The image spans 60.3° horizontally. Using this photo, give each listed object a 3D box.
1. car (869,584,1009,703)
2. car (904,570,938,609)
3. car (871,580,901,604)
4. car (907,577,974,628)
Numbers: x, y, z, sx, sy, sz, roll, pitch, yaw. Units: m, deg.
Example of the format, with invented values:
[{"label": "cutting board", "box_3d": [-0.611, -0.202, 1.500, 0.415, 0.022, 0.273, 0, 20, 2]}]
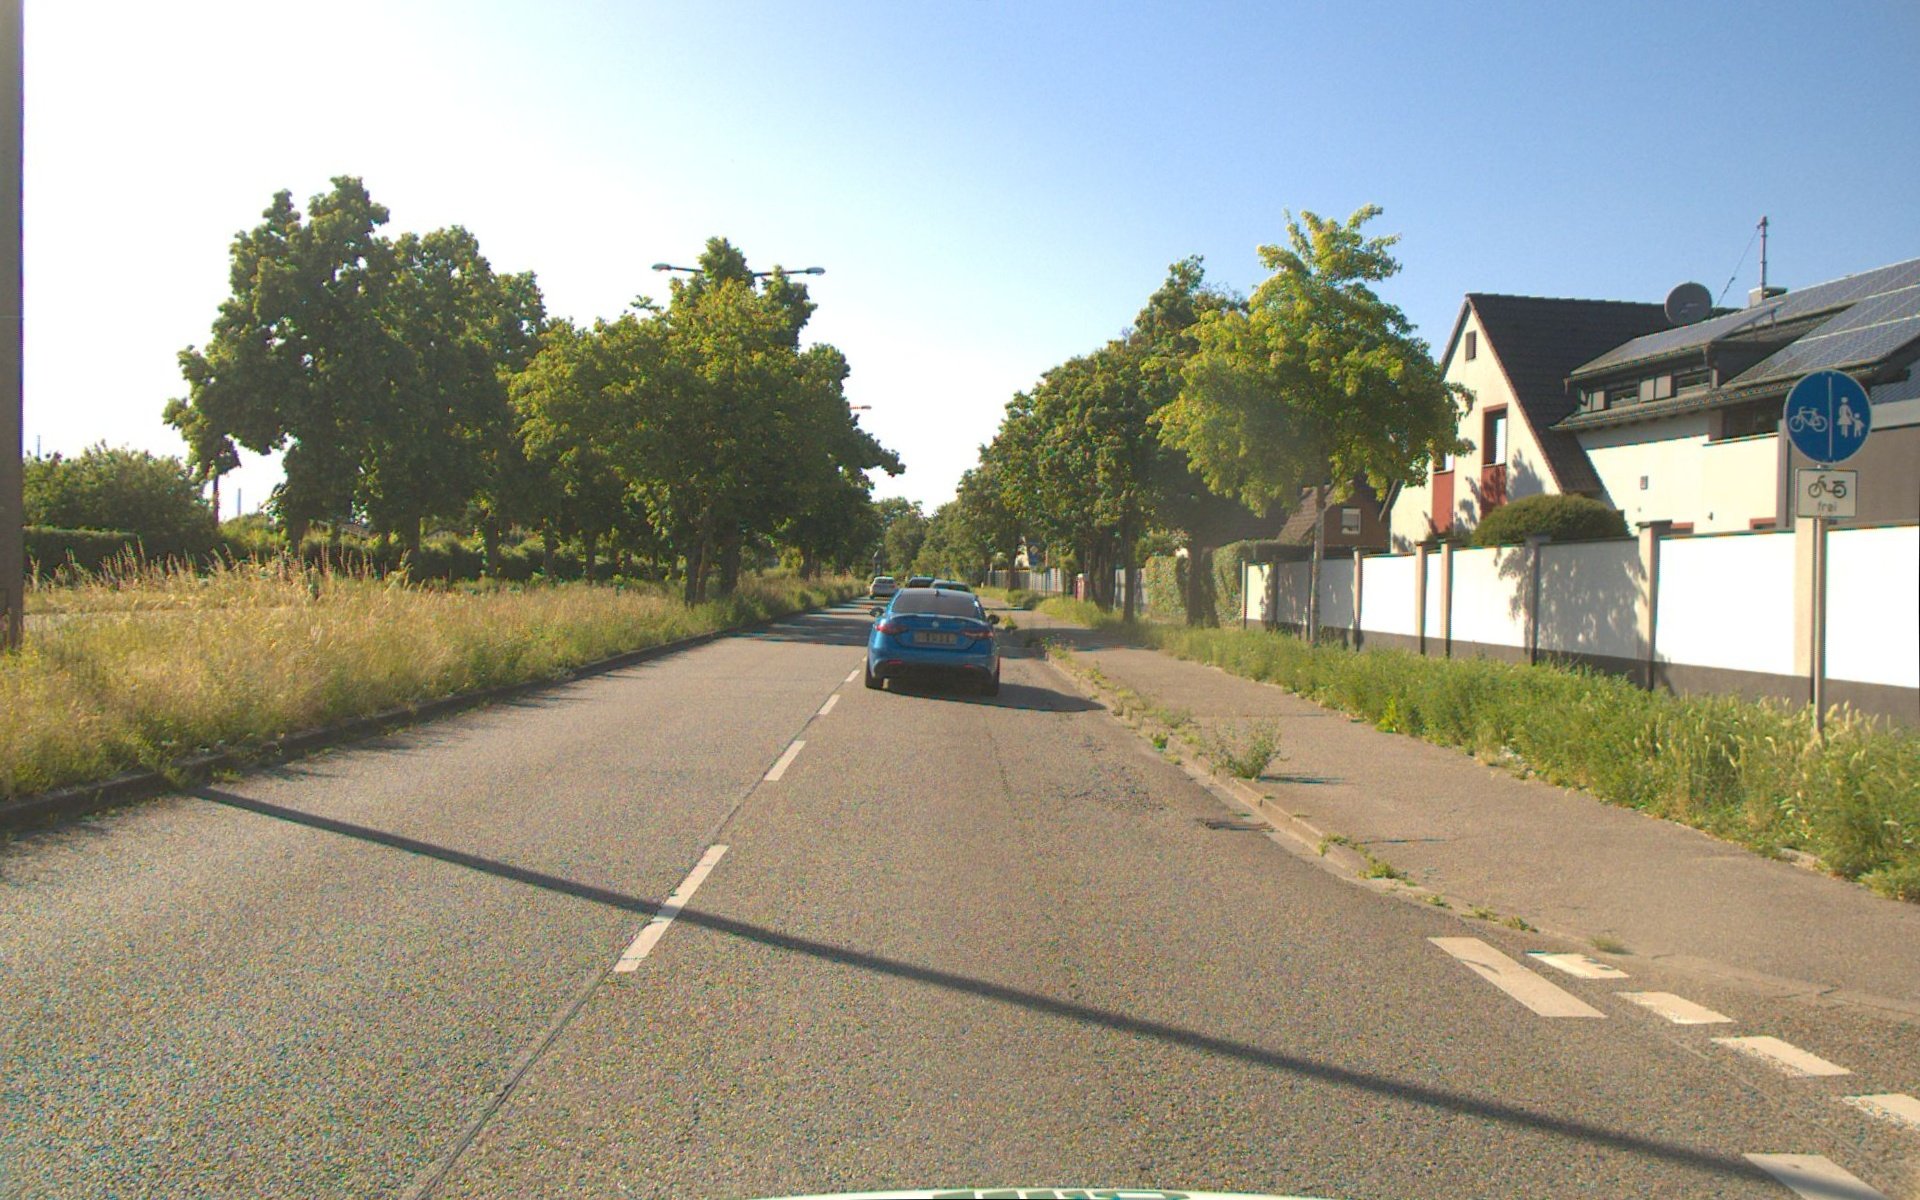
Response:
[{"label": "car", "box_3d": [-0.271, 0.565, 24.206, 1.801, 1.500, 4.184, 3, 0, 0]}, {"label": "car", "box_3d": [-2.116, -0.586, 90.348, 1.757, 2.048, 3.999, 2, 0, -2]}, {"label": "car", "box_3d": [-4.875, -0.518, 108.169, 1.877, 1.538, 4.065, 1, 1, -3]}, {"label": "car", "box_3d": [-0.675, 0.055, 54.376, 1.878, 1.607, 4.178, 1, 1, -5]}]
